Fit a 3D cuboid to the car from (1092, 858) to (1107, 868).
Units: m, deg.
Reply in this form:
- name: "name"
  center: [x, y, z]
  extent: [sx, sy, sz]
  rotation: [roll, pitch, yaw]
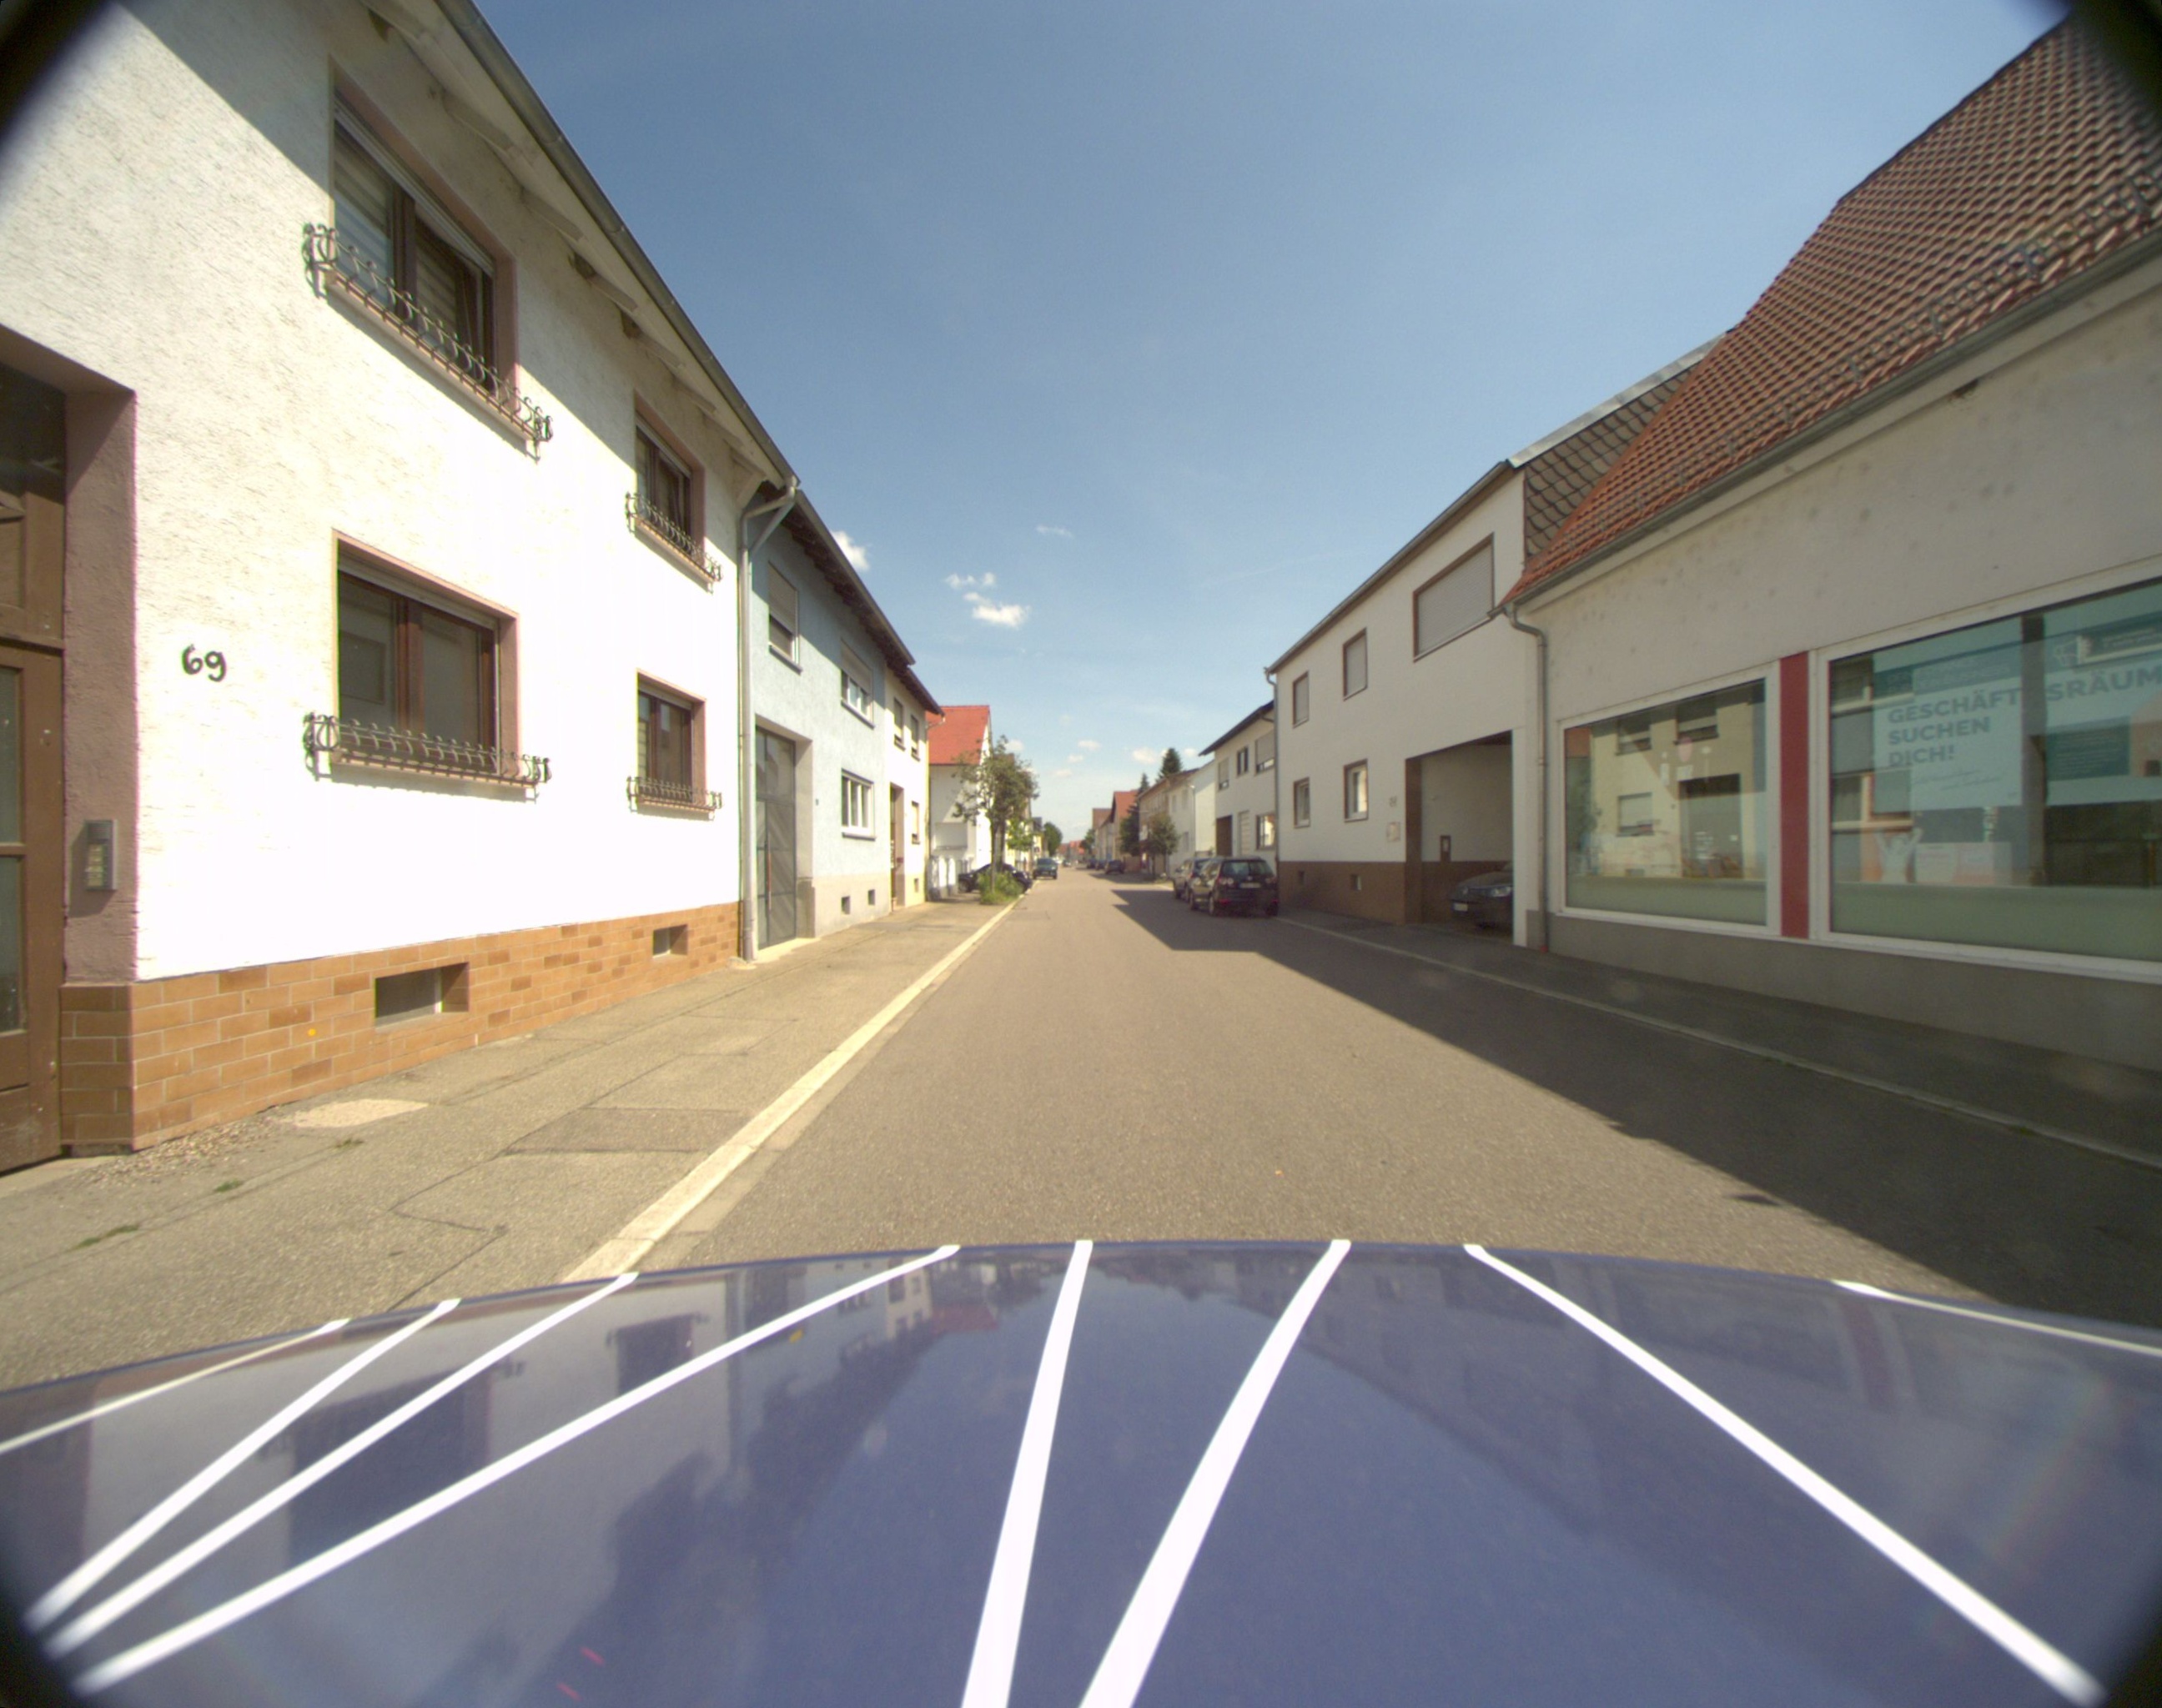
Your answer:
- name: "car"
  center: [2.853, 1.365, 115.988]
  extent: [1.999, 1.570, 3.999]
  rotation: [0, 0, -3]

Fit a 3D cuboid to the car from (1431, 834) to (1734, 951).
- name: "car"
  center: [8.538, 0.619, 13.205]
  extent: [3.997, 1.708, 1.814]
  rotation: [-3, 0, 0]

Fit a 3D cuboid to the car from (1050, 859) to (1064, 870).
- name: "car"
  center: [-3.415, 1.469, 108.632]
  extent: [1.958, 1.521, 4.000]
  rotation: [0, 0, 0]

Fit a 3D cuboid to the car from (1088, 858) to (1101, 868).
- name: "car"
  center: [2.155, 1.472, 122.000]
  extent: [1.999, 1.570, 3.999]
  rotation: [0, 0, -1]

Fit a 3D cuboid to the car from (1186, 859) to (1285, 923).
- name: "car"
  center: [4.138, 0.928, 20.931]
  extent: [1.752, 1.557, 3.954]
  rotation: [0, 0, -3]

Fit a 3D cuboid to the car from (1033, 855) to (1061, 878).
- name: "car"
  center: [-2.624, 0.950, 59.165]
  extent: [1.998, 1.696, 4.000]
  rotation: [0, 0, 0]

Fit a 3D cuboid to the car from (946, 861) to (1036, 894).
- name: "car"
  center: [-4.016, 1.028, 34.268]
  extent: [3.814, 1.420, 1.728]
  rotation: [0, 0, 3]

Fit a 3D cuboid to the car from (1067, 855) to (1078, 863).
- name: "car"
  center: [-1.564, 0.954, 139.225]
  extent: [1.958, 1.521, 4.000]
  rotation: [0, 0, 0]

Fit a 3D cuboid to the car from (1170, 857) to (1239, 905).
- name: "car"
  center: [4.430, 0.920, 27.825]
  extent: [1.759, 1.608, 4.120]
  rotation: [0, 0, -1]

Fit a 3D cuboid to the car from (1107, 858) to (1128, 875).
- name: "car"
  center: [3.701, 1.273, 76.976]
  extent: [1.852, 1.688, 4.000]
  rotation: [0, 0, -1]

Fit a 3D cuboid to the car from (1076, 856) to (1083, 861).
- name: "car"
  center: [-0.435, 1.345, 229.219]
  extent: [1.904, 1.682, 4.000]
  rotation: [-1, 0, 0]

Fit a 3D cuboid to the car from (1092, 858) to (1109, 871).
- name: "car"
  center: [2.448, 1.328, 98.039]
  extent: [1.855, 1.543, 3.999]
  rotation: [0, 0, -3]
